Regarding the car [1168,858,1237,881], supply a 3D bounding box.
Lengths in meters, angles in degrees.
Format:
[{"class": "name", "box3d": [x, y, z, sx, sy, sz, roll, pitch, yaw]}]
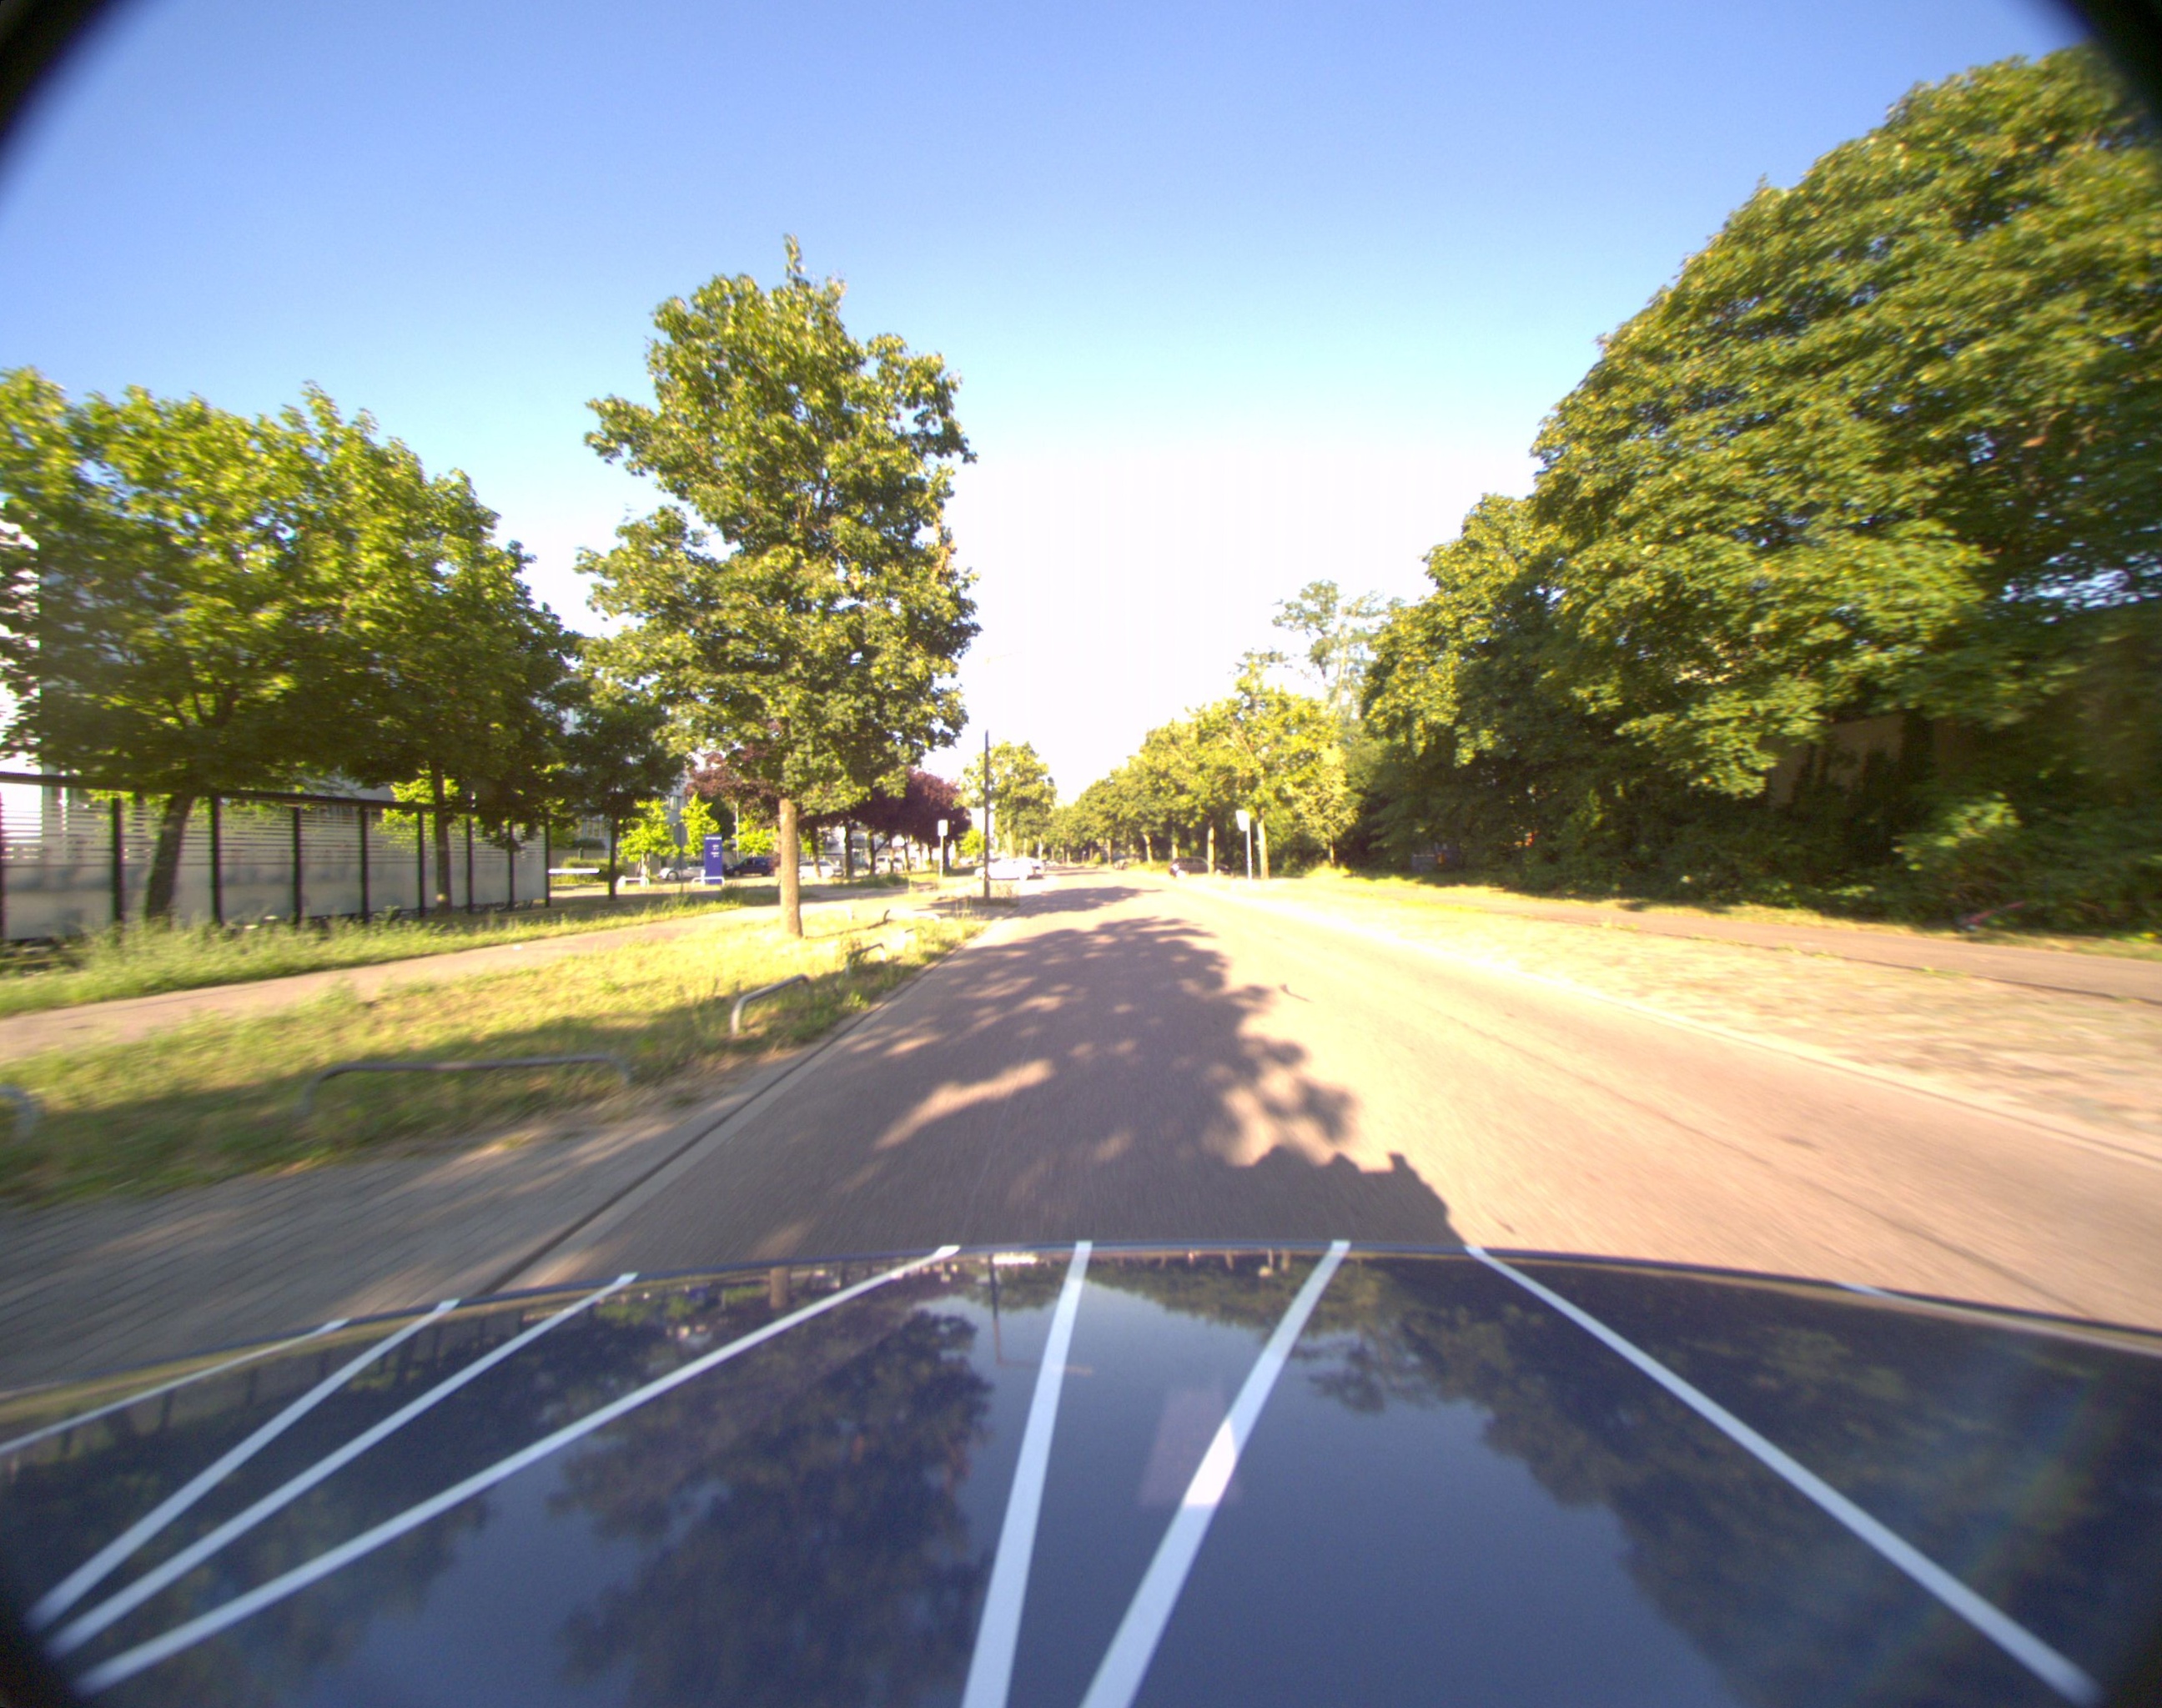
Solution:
[{"class": "car", "box3d": [8.221, 1.037, 51.665, 4.370, 1.470, 1.999, 0, 0, -2]}]

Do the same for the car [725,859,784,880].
[{"class": "car", "box3d": [-29.120, 1.364, 67.861, 4.505, 1.739, 1.762, 0, -1, -44]}]

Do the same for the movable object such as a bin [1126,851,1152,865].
[{"class": "movable object such as a bin", "box3d": [11.183, 0.870, 146.716, 4.790, 2.648, 2.169, -1, 0, 41]}]

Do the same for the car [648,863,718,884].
[{"class": "car", "box3d": [-29.526, 1.432, 56.417, 4.313, 1.518, 1.762, 0, -1, -41]}]

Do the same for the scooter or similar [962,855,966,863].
[{"class": "scooter or similar", "box3d": [-18.445, 0.790, 119.897, 0.521, 1.264, 1.199, -1, 0, -8]}]

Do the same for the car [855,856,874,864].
[{"class": "car", "box3d": [-39.740, 1.172, 139.385, 2.036, 1.423, 4.562, 0, -1, 3]}]

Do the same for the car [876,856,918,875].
[{"class": "car", "box3d": [-19.547, 1.281, 80.812, 4.940, 1.922, 2.004, -2, -1, 44]}]

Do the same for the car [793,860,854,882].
[{"class": "car", "box3d": [-19.806, 1.291, 58.394, 4.940, 1.565, 2.004, -1, 0, 37]}]

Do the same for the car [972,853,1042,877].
[{"class": "car", "box3d": [-4.970, 0.753, 51.578, 4.366, 1.470, 2.001, 2, 0, 8]}]

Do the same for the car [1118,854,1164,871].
[{"class": "car", "box3d": [7.020, 0.981, 88.589, 5.020, 2.008, 2.173, 0, 0, -6]}]

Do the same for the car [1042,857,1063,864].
[{"class": "car", "box3d": [-6.428, 1.465, 170.450, 4.496, 1.522, 1.998, -2, 0, -13]}]

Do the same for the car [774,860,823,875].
[{"class": "car", "box3d": [-29.035, 1.370, 78.179, 4.321, 1.519, 1.802, 0, 0, -39]}]

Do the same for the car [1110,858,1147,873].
[{"class": "car", "box3d": [5.776, 1.375, 92.664, 4.224, 1.521, 1.705, -3, 0, -6]}]

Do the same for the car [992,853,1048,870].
[{"class": "car", "box3d": [-5.757, 0.667, 71.488, 5.190, 1.564, 2.157, 0, 0, -5]}]

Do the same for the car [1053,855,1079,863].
[{"class": "car", "box3d": [-3.012, 1.022, 153.463, 5.053, 1.453, 1.998, 0, 0, -13]}]

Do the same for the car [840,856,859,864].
[{"class": "car", "box3d": [-42.550, 1.108, 139.675, 2.036, 1.423, 4.562, 0, -1, 3]}]
